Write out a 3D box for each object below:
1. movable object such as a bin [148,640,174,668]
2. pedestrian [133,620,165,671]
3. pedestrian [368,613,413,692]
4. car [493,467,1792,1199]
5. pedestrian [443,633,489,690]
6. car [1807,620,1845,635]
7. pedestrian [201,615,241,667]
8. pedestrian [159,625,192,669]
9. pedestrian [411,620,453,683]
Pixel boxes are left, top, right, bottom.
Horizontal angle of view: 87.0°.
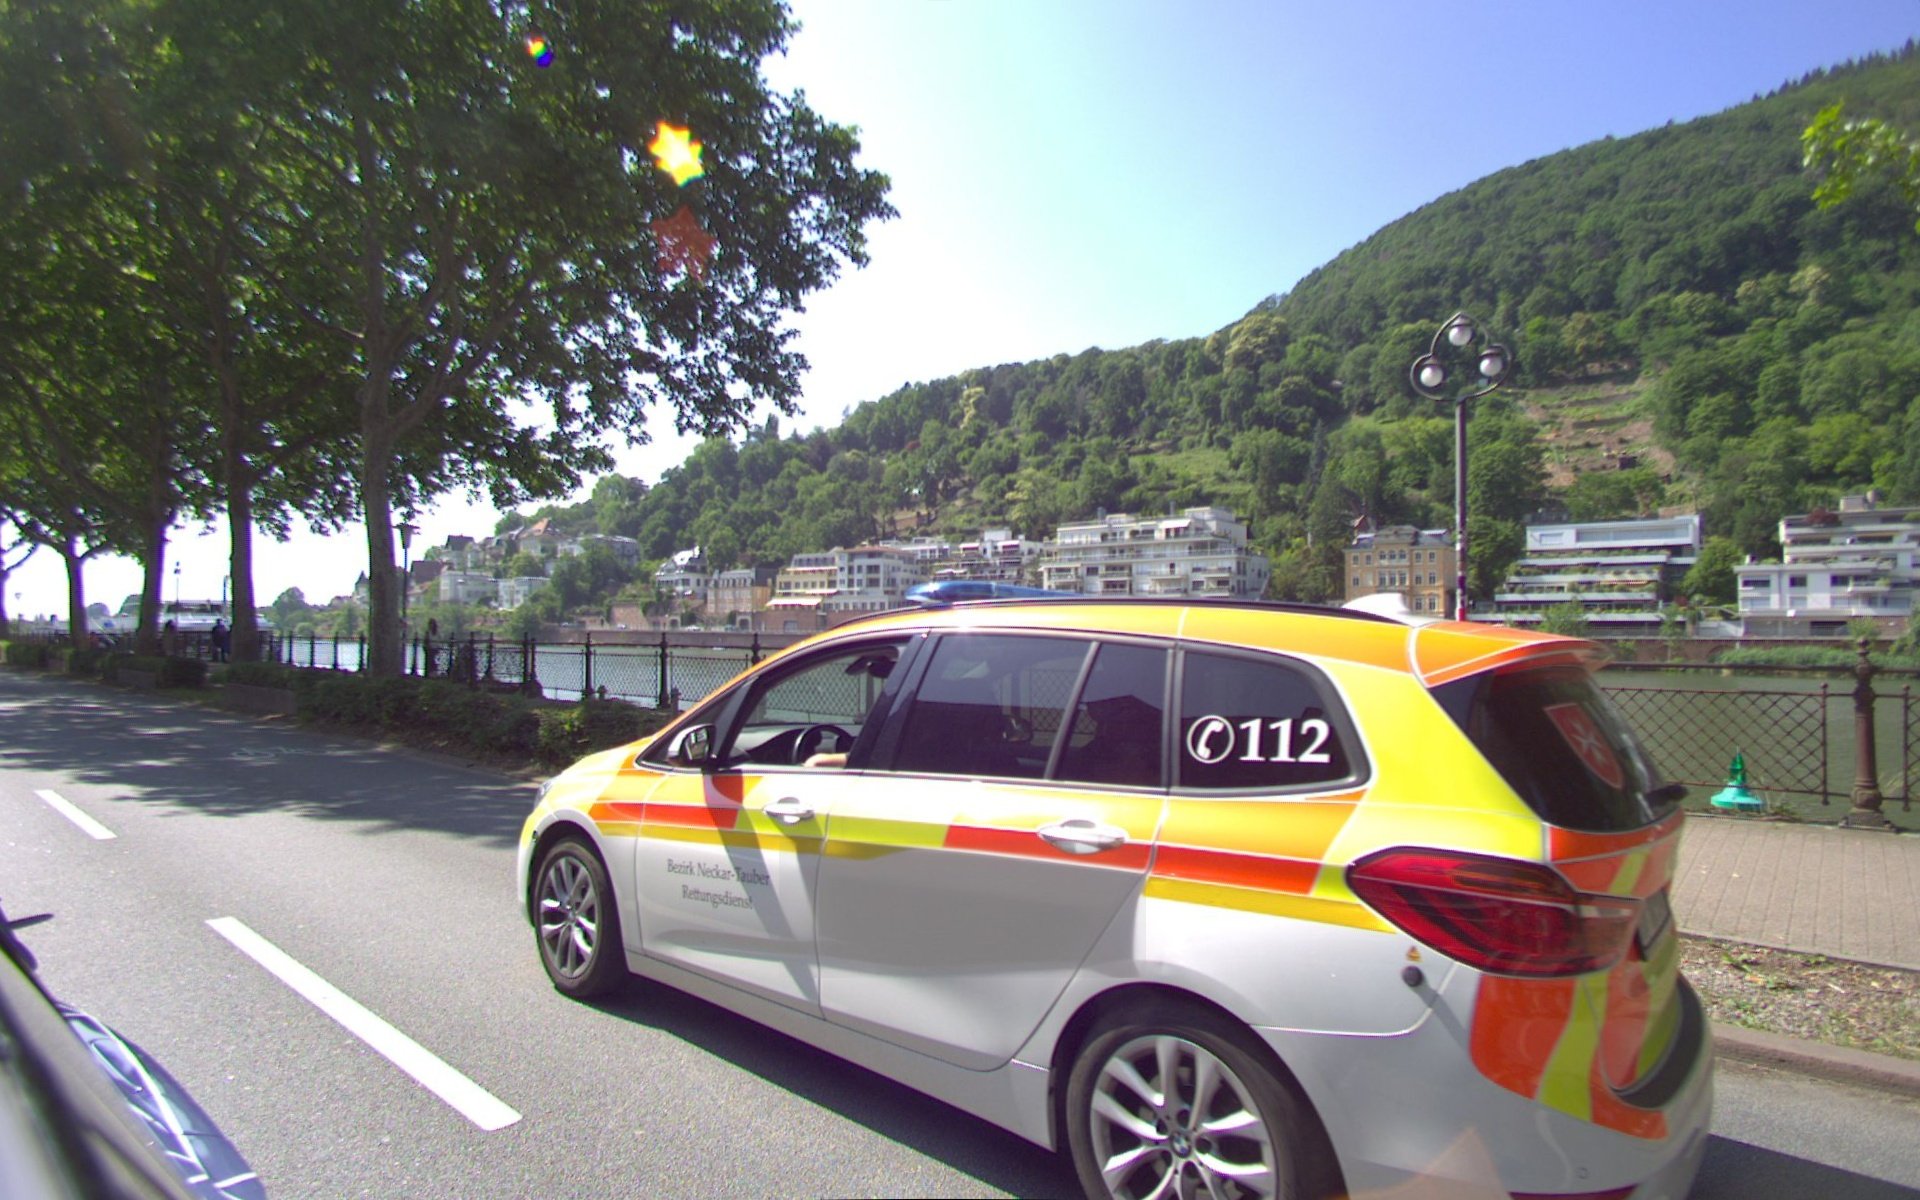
[{"bbox_3d":[-31.181,2.108,39.476,0.783,1.057,0.694,-1,0,44],"label":"movable object such as a bin"},{"bbox_3d":[-30.765,1.717,38.396,0.928,1.863,0.796,-1,0,41],"label":"pedestrian"},{"bbox_3d":[-14.125,1.292,25.102,0.756,1.915,0.771,3,-4,-42],"label":"pedestrian"},{"bbox_3d":[0.174,0.724,3.579,4.220,1.673,1.656,-2,-5,41],"label":"car"},{"bbox_3d":[-12.544,1.549,25.703,0.770,1.398,0.758,-2,-3,40],"label":"pedestrian"},{"bbox_3d":[126.025,3.981,147.281,3.998,2.029,1.973,-4,-2,41],"label":"car"},{"bbox_3d":[-29.451,1.625,40.350,1.032,2.029,1.038,-1,0,-19],"label":"pedestrian"},{"bbox_3d":[-30.361,1.796,39.169,0.885,1.647,1.060,0,0,-44],"label":"pedestrian"},{"bbox_3d":[-15.156,1.465,29.064,0.829,1.771,0.767,-2,-4,40],"label":"pedestrian"}]
